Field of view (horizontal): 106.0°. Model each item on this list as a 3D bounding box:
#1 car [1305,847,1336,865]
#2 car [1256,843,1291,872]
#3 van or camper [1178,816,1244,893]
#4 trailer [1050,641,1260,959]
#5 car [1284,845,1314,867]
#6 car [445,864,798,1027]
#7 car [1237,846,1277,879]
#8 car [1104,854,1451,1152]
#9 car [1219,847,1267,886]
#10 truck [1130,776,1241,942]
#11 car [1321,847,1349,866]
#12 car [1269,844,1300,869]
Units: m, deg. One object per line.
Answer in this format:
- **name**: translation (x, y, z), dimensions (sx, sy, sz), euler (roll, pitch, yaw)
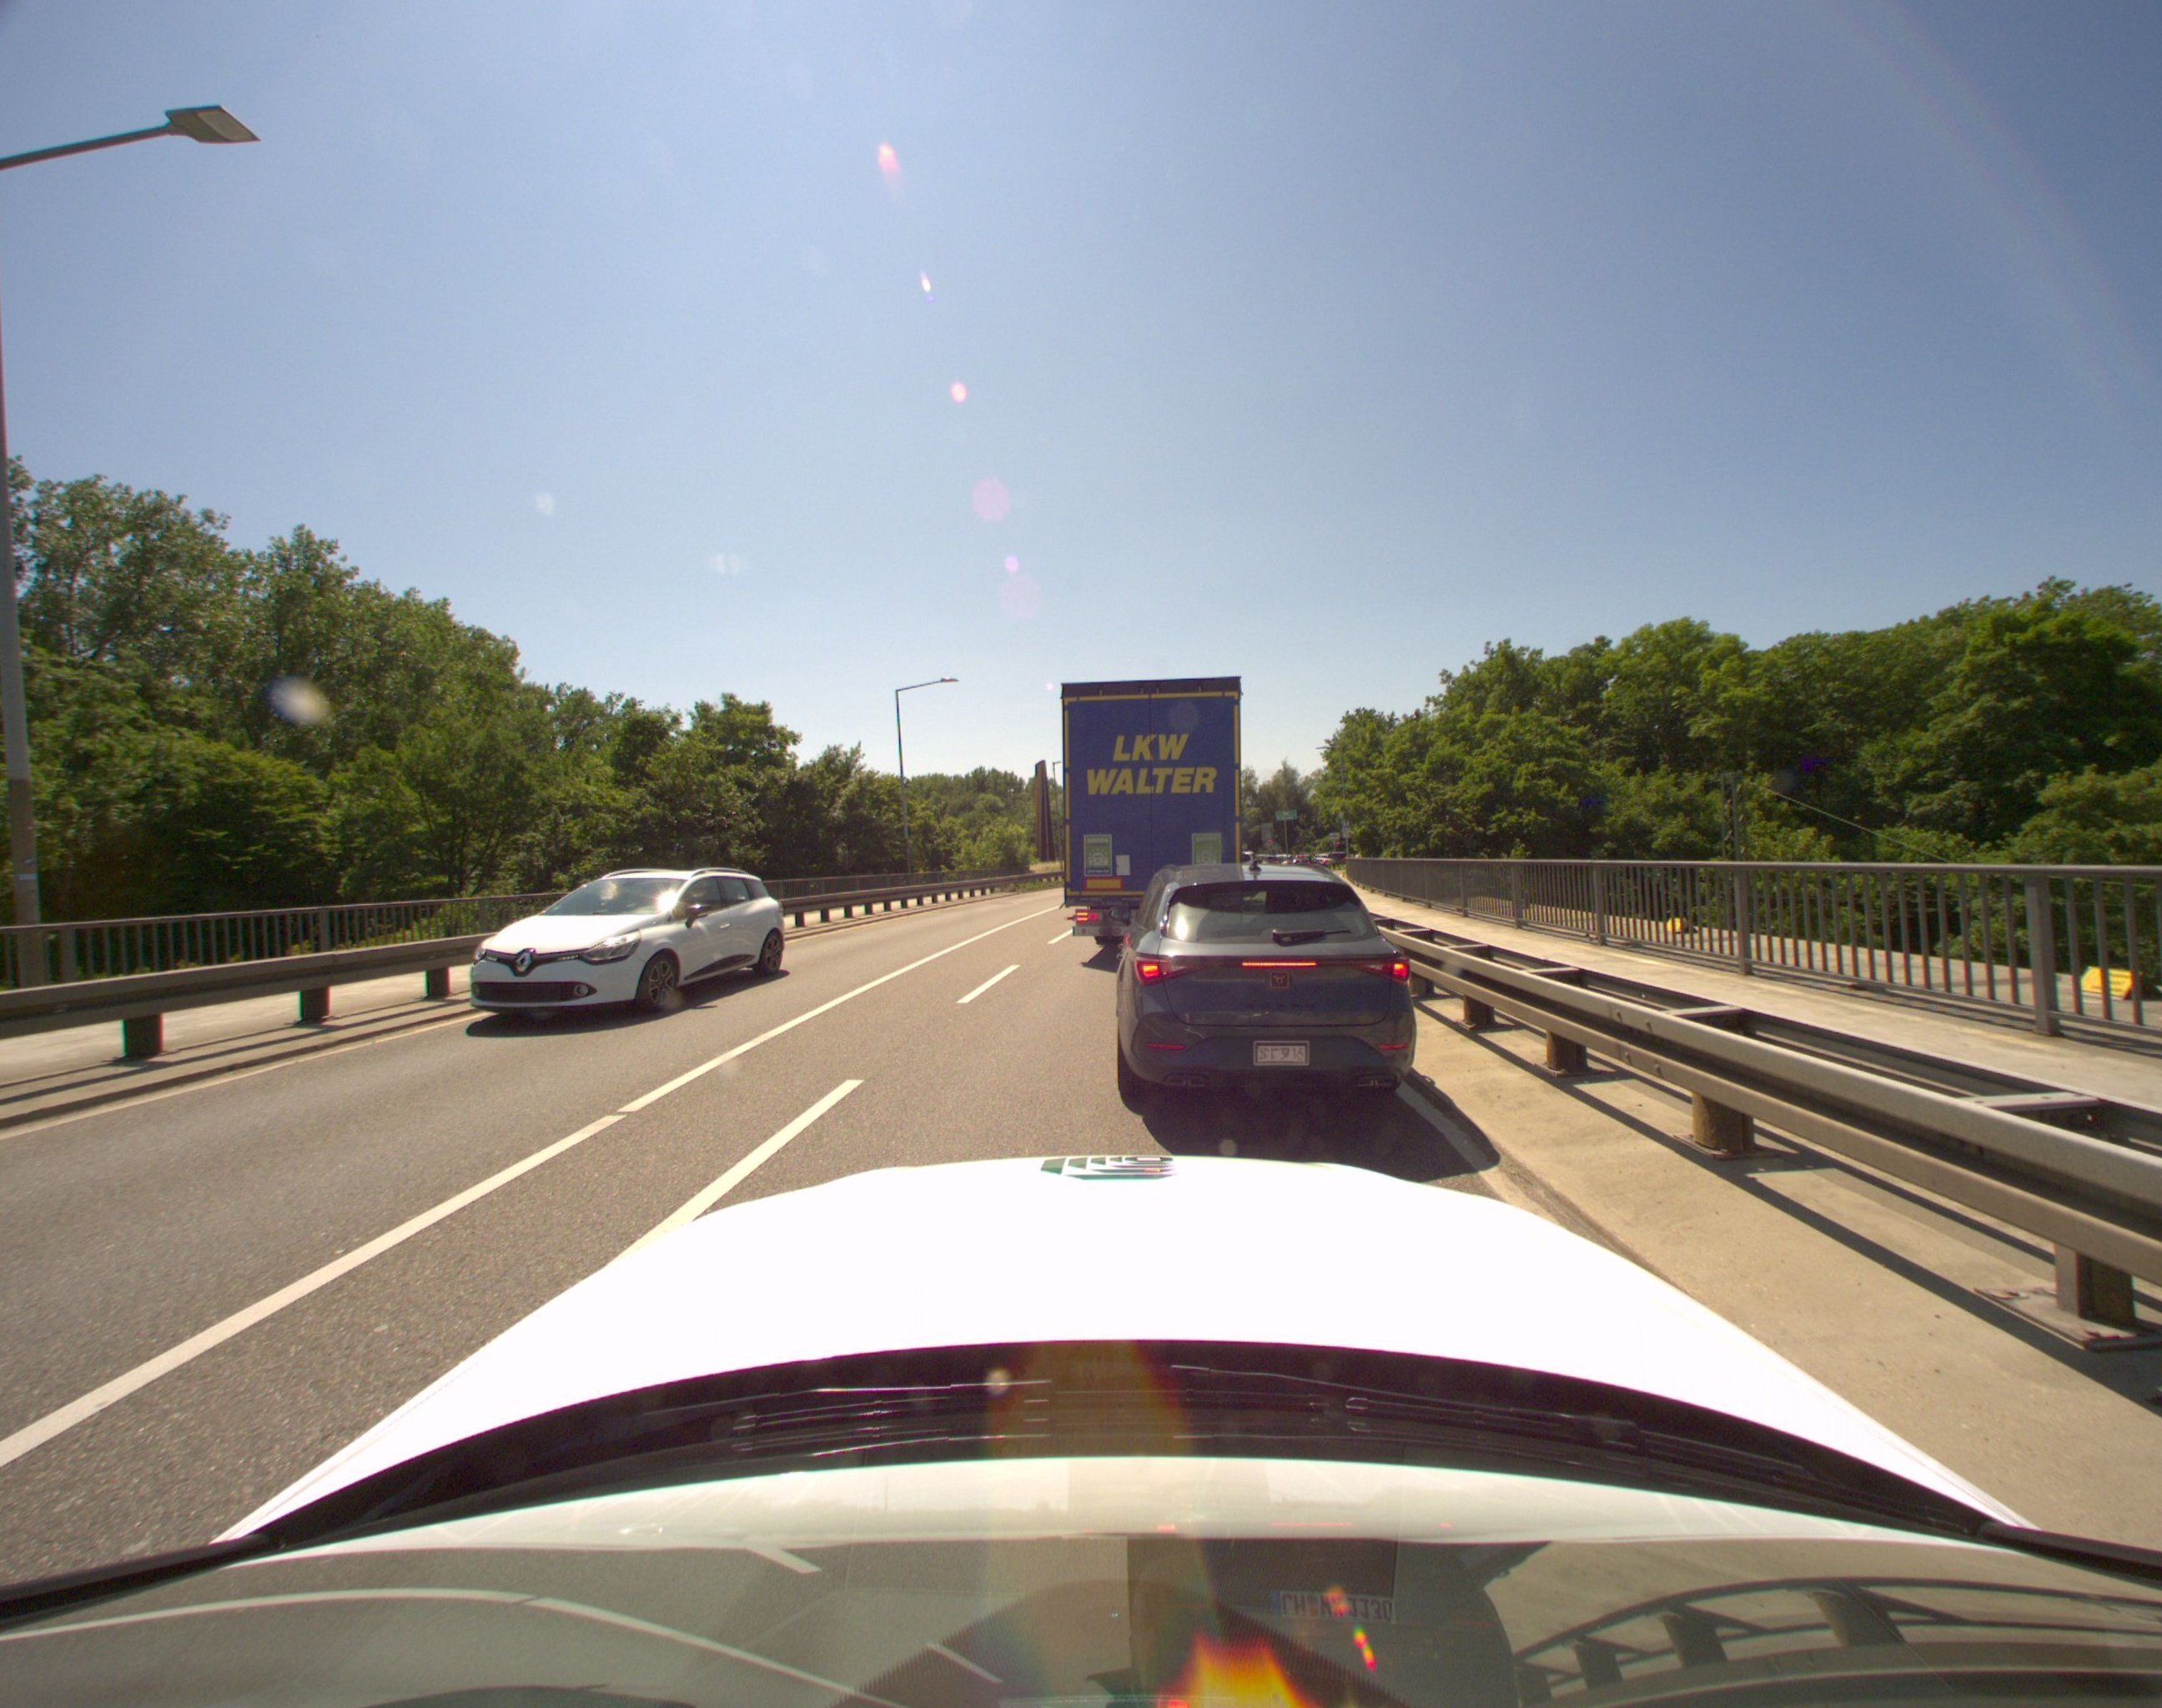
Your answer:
- **car**: translation (21.809, 0.198, 74.060), dimensions (1.975, 1.575, 4.024), euler (0, -1, 28)
- **car**: translation (13.097, 0.232, 55.312), dimensions (1.706, 1.844, 4.021), euler (-1, 0, 21)
- **van or camper**: translation (5.491, 0.014, 33.632), dimensions (2.139, 2.815, 6.411), euler (-1, 0, 14)
- **trailer**: translation (2.054, -0.751, 17.662), dimensions (2.887, 4.418, 12.466), euler (-1, 0, 10)
- **car**: translation (18.214, 0.198, 67.887), dimensions (1.670, 1.760, 4.023), euler (-1, -1, 25)
- **car**: translation (-4.977, 0.873, 9.576), dimensions (1.592, 1.449, 4.060), euler (-1, 0, 4)
- **car**: translation (10.258, 0.475, 47.217), dimensions (1.706, 1.802, 4.020), euler (-1, 0, 20)
- **car**: translation (1.111, 0.750, 6.020), dimensions (1.669, 1.456, 3.963), euler (-1, 0, 4)
- **car**: translation (8.189, 0.594, 40.956), dimensions (1.706, 1.844, 4.020), euler (-1, 0, 20)
- **truck**: translation (3.339, 0.136, 25.110), dimensions (2.887, 4.418, 6.573), euler (-1, 0, 10)
- **car**: translation (24.968, 0.277, 79.940), dimensions (1.669, 1.760, 4.025), euler (-2, -1, 30)
- **car**: translation (15.350, 0.165, 61.300), dimensions (1.706, 1.844, 4.021), euler (-1, 0, 21)
